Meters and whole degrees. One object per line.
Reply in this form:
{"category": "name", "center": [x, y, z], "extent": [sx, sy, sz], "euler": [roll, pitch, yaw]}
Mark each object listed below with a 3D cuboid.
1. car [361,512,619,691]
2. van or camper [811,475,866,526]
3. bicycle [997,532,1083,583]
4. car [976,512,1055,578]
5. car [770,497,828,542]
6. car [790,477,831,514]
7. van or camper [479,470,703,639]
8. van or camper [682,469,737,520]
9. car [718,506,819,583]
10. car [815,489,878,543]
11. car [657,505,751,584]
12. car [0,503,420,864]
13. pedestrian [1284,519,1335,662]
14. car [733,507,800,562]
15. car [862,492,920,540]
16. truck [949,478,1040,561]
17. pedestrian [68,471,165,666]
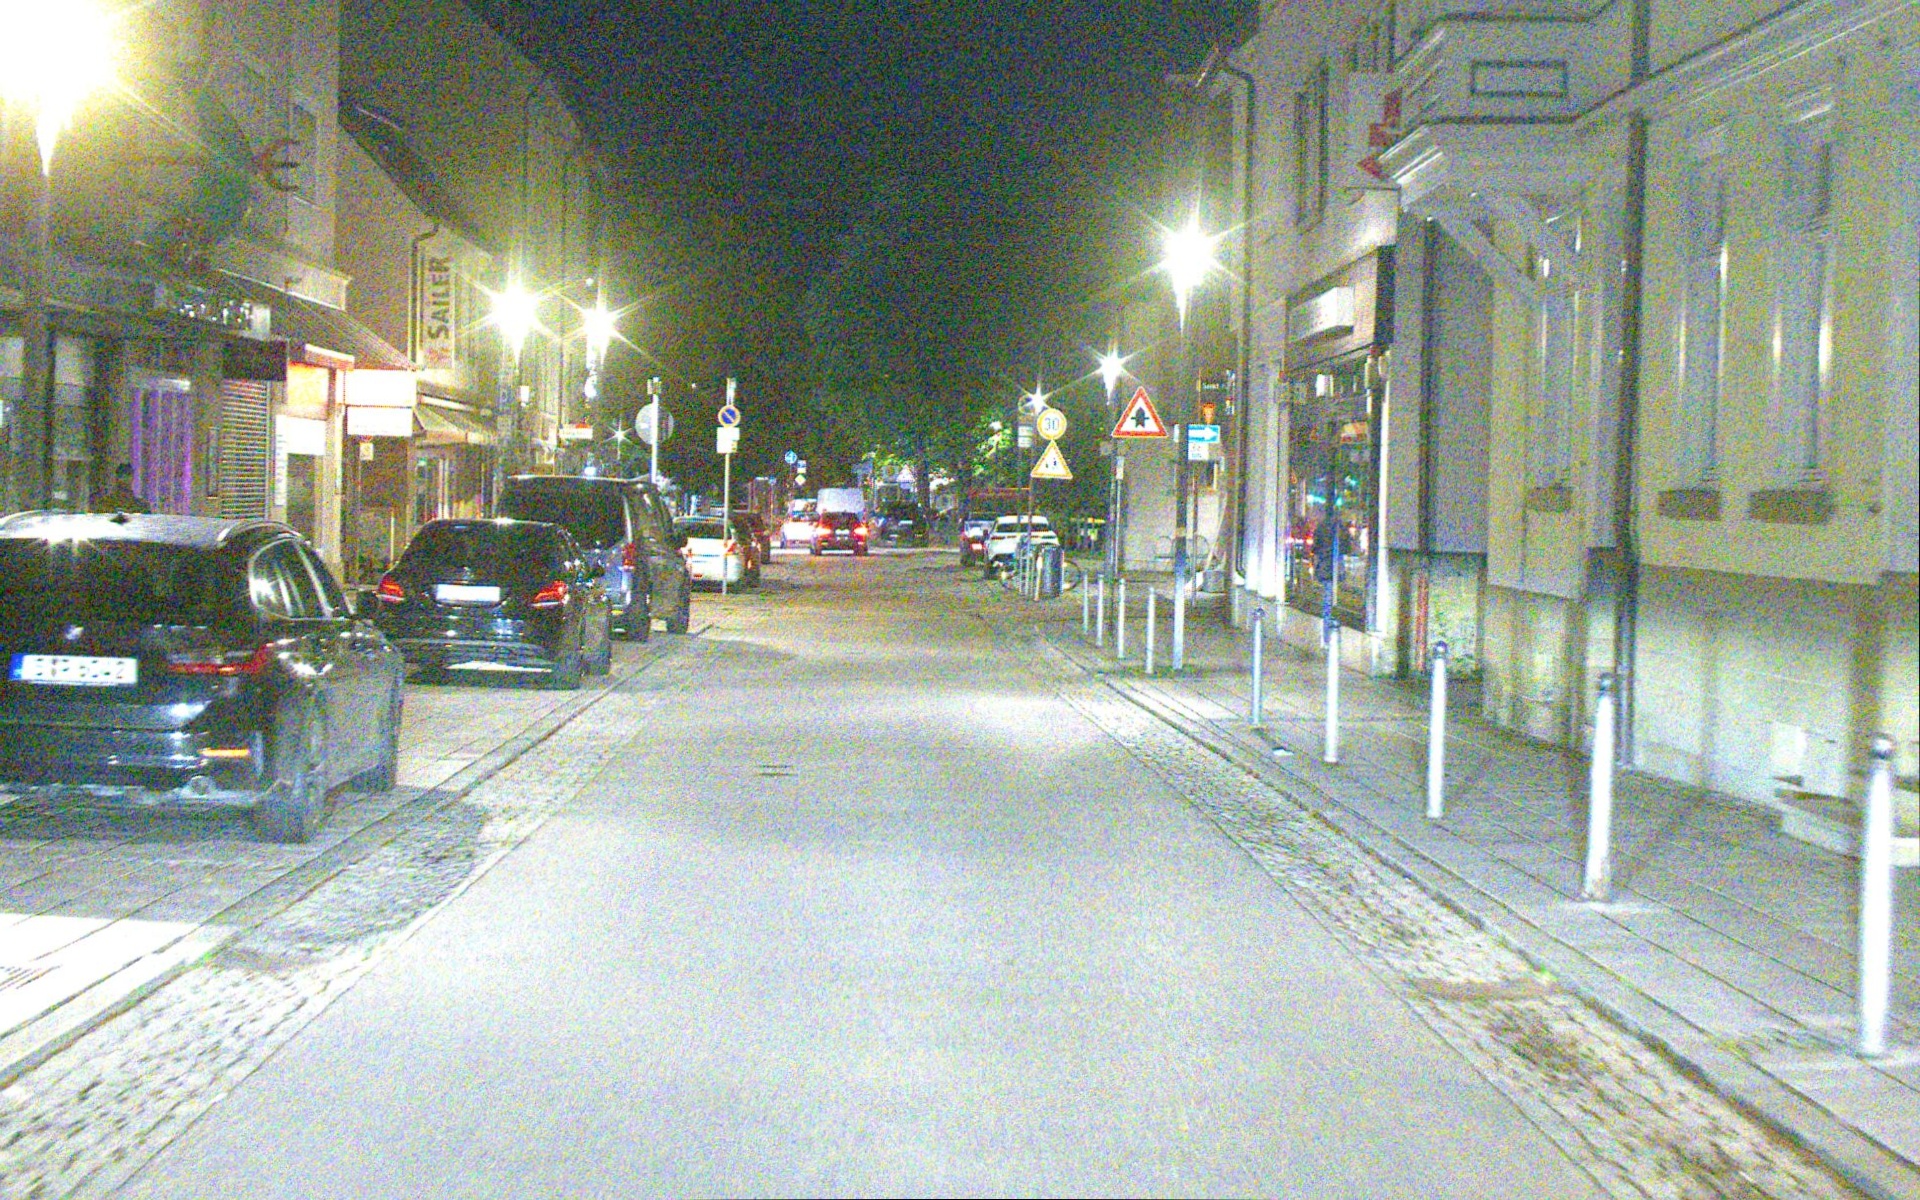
{"category": "car", "center": [-4.131, -0.044, 30.801], "extent": [1.716, 1.408, 4.386], "euler": [2, 2, -1]}
{"category": "van or camper", "center": [-5.660, -4.638, 159.831], "extent": [2.108, 2.309, 4.263], "euler": [-1, 2, -8]}
{"category": "bicycle", "center": [1.656, -0.887, 71.380], "extent": [1.754, 1.058, 0.346], "euler": [0, 2, -4]}
{"category": "car", "center": [1.311, -1.345, 82.844], "extent": [1.789, 1.486, 4.059], "euler": [-1, 2, 0]}
{"category": "car", "center": [-6.284, -3.143, 134.091], "extent": [1.993, 1.697, 4.001], "euler": [1, 2, -6]}
{"category": "car", "center": [-7.774, -5.435, 178.806], "extent": [1.839, 1.894, 3.846], "euler": [0, 2, -7]}
{"category": "van or camper", "center": [-4.512, -0.606, 42.796], "extent": [1.846, 1.935, 5.153], "euler": [2, 2, 4]}
{"category": "van or camper", "center": [-10.254, -4.330, 140.592], "extent": [1.866, 2.004, 4.263], "euler": [2, 2, -8]}
{"category": "car", "center": [-4.121, -1.229, 74.681], "extent": [2.019, 1.483, 5.008], "euler": [3, 2, -2]}
{"category": "car", "center": [-3.942, -2.909, 119.137], "extent": [1.993, 1.817, 4.001], "euler": [1, 2, -4]}
{"category": "car", "center": [-5.125, -1.137, 69.142], "extent": [1.728, 1.471, 3.847], "euler": [2, 2, -2]}
{"category": "car", "center": [-3.786, 0.296, 16.563], "extent": [1.797, 1.473, 4.322], "euler": [2, 1, -2]}
{"category": "pedestrian", "center": [3.842, -0.110, 37.836], "extent": [0.501, 1.542, 0.480], "euler": [2, 1, 5]}
{"category": "car", "center": [-5.795, -1.983, 102.771], "extent": [1.673, 1.538, 4.232], "euler": [1, 2, -7]}
{"category": "car", "center": [-2.701, -3.280, 133.768], "extent": [1.814, 1.822, 4.348], "euler": [0, 2, -7]}
{"category": "truck", "center": [0.945, -2.341, 98.183], "extent": [2.336, 2.304, 5.782], "euler": [0, 2, -2]}
{"category": "pedestrian", "center": [-7.688, -0.295, 31.367], "extent": [0.621, 1.739, 1.023], "euler": [1, 1, -1]}
